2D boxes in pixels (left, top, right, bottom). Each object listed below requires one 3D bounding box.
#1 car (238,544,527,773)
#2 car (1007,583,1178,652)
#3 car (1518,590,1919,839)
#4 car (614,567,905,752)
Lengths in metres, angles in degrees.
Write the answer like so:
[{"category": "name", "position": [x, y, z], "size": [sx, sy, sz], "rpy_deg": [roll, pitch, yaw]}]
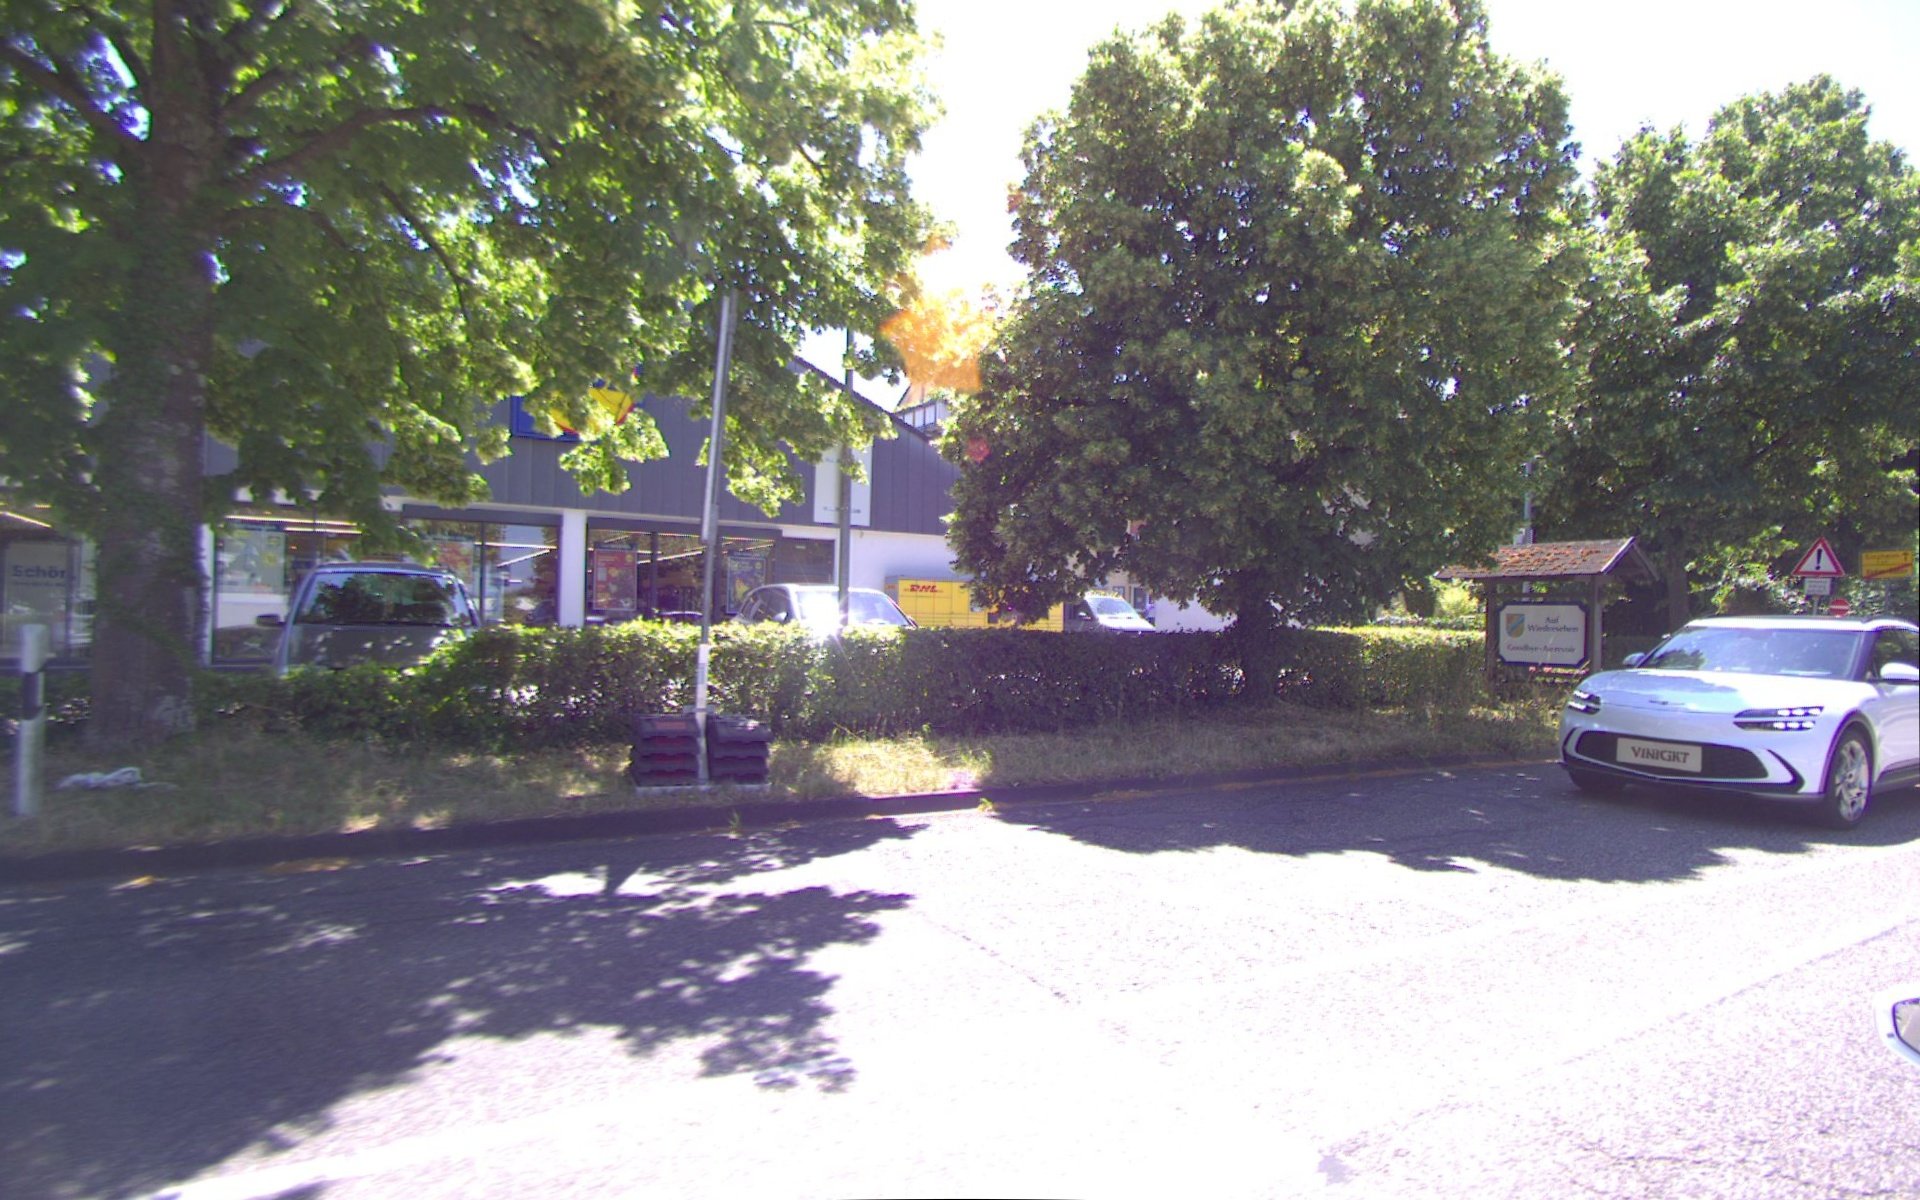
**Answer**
[{"category": "car", "position": [-5.908, 0.410, 10.277], "size": [2.050, 1.800, 4.376], "rpy_deg": [2, 1, -32]}, {"category": "car", "position": [3.670, 0.453, 28.792], "size": [2.214, 1.592, 4.960], "rpy_deg": [2, 2, -31]}, {"category": "car", "position": [7.213, 0.840, 8.751], "size": [4.422, 1.609, 2.084], "rpy_deg": [2, 1, -30]}, {"category": "car", "position": [-2.653, 0.562, 12.345], "size": [2.050, 1.800, 4.376], "rpy_deg": [2, 1, -32]}]
